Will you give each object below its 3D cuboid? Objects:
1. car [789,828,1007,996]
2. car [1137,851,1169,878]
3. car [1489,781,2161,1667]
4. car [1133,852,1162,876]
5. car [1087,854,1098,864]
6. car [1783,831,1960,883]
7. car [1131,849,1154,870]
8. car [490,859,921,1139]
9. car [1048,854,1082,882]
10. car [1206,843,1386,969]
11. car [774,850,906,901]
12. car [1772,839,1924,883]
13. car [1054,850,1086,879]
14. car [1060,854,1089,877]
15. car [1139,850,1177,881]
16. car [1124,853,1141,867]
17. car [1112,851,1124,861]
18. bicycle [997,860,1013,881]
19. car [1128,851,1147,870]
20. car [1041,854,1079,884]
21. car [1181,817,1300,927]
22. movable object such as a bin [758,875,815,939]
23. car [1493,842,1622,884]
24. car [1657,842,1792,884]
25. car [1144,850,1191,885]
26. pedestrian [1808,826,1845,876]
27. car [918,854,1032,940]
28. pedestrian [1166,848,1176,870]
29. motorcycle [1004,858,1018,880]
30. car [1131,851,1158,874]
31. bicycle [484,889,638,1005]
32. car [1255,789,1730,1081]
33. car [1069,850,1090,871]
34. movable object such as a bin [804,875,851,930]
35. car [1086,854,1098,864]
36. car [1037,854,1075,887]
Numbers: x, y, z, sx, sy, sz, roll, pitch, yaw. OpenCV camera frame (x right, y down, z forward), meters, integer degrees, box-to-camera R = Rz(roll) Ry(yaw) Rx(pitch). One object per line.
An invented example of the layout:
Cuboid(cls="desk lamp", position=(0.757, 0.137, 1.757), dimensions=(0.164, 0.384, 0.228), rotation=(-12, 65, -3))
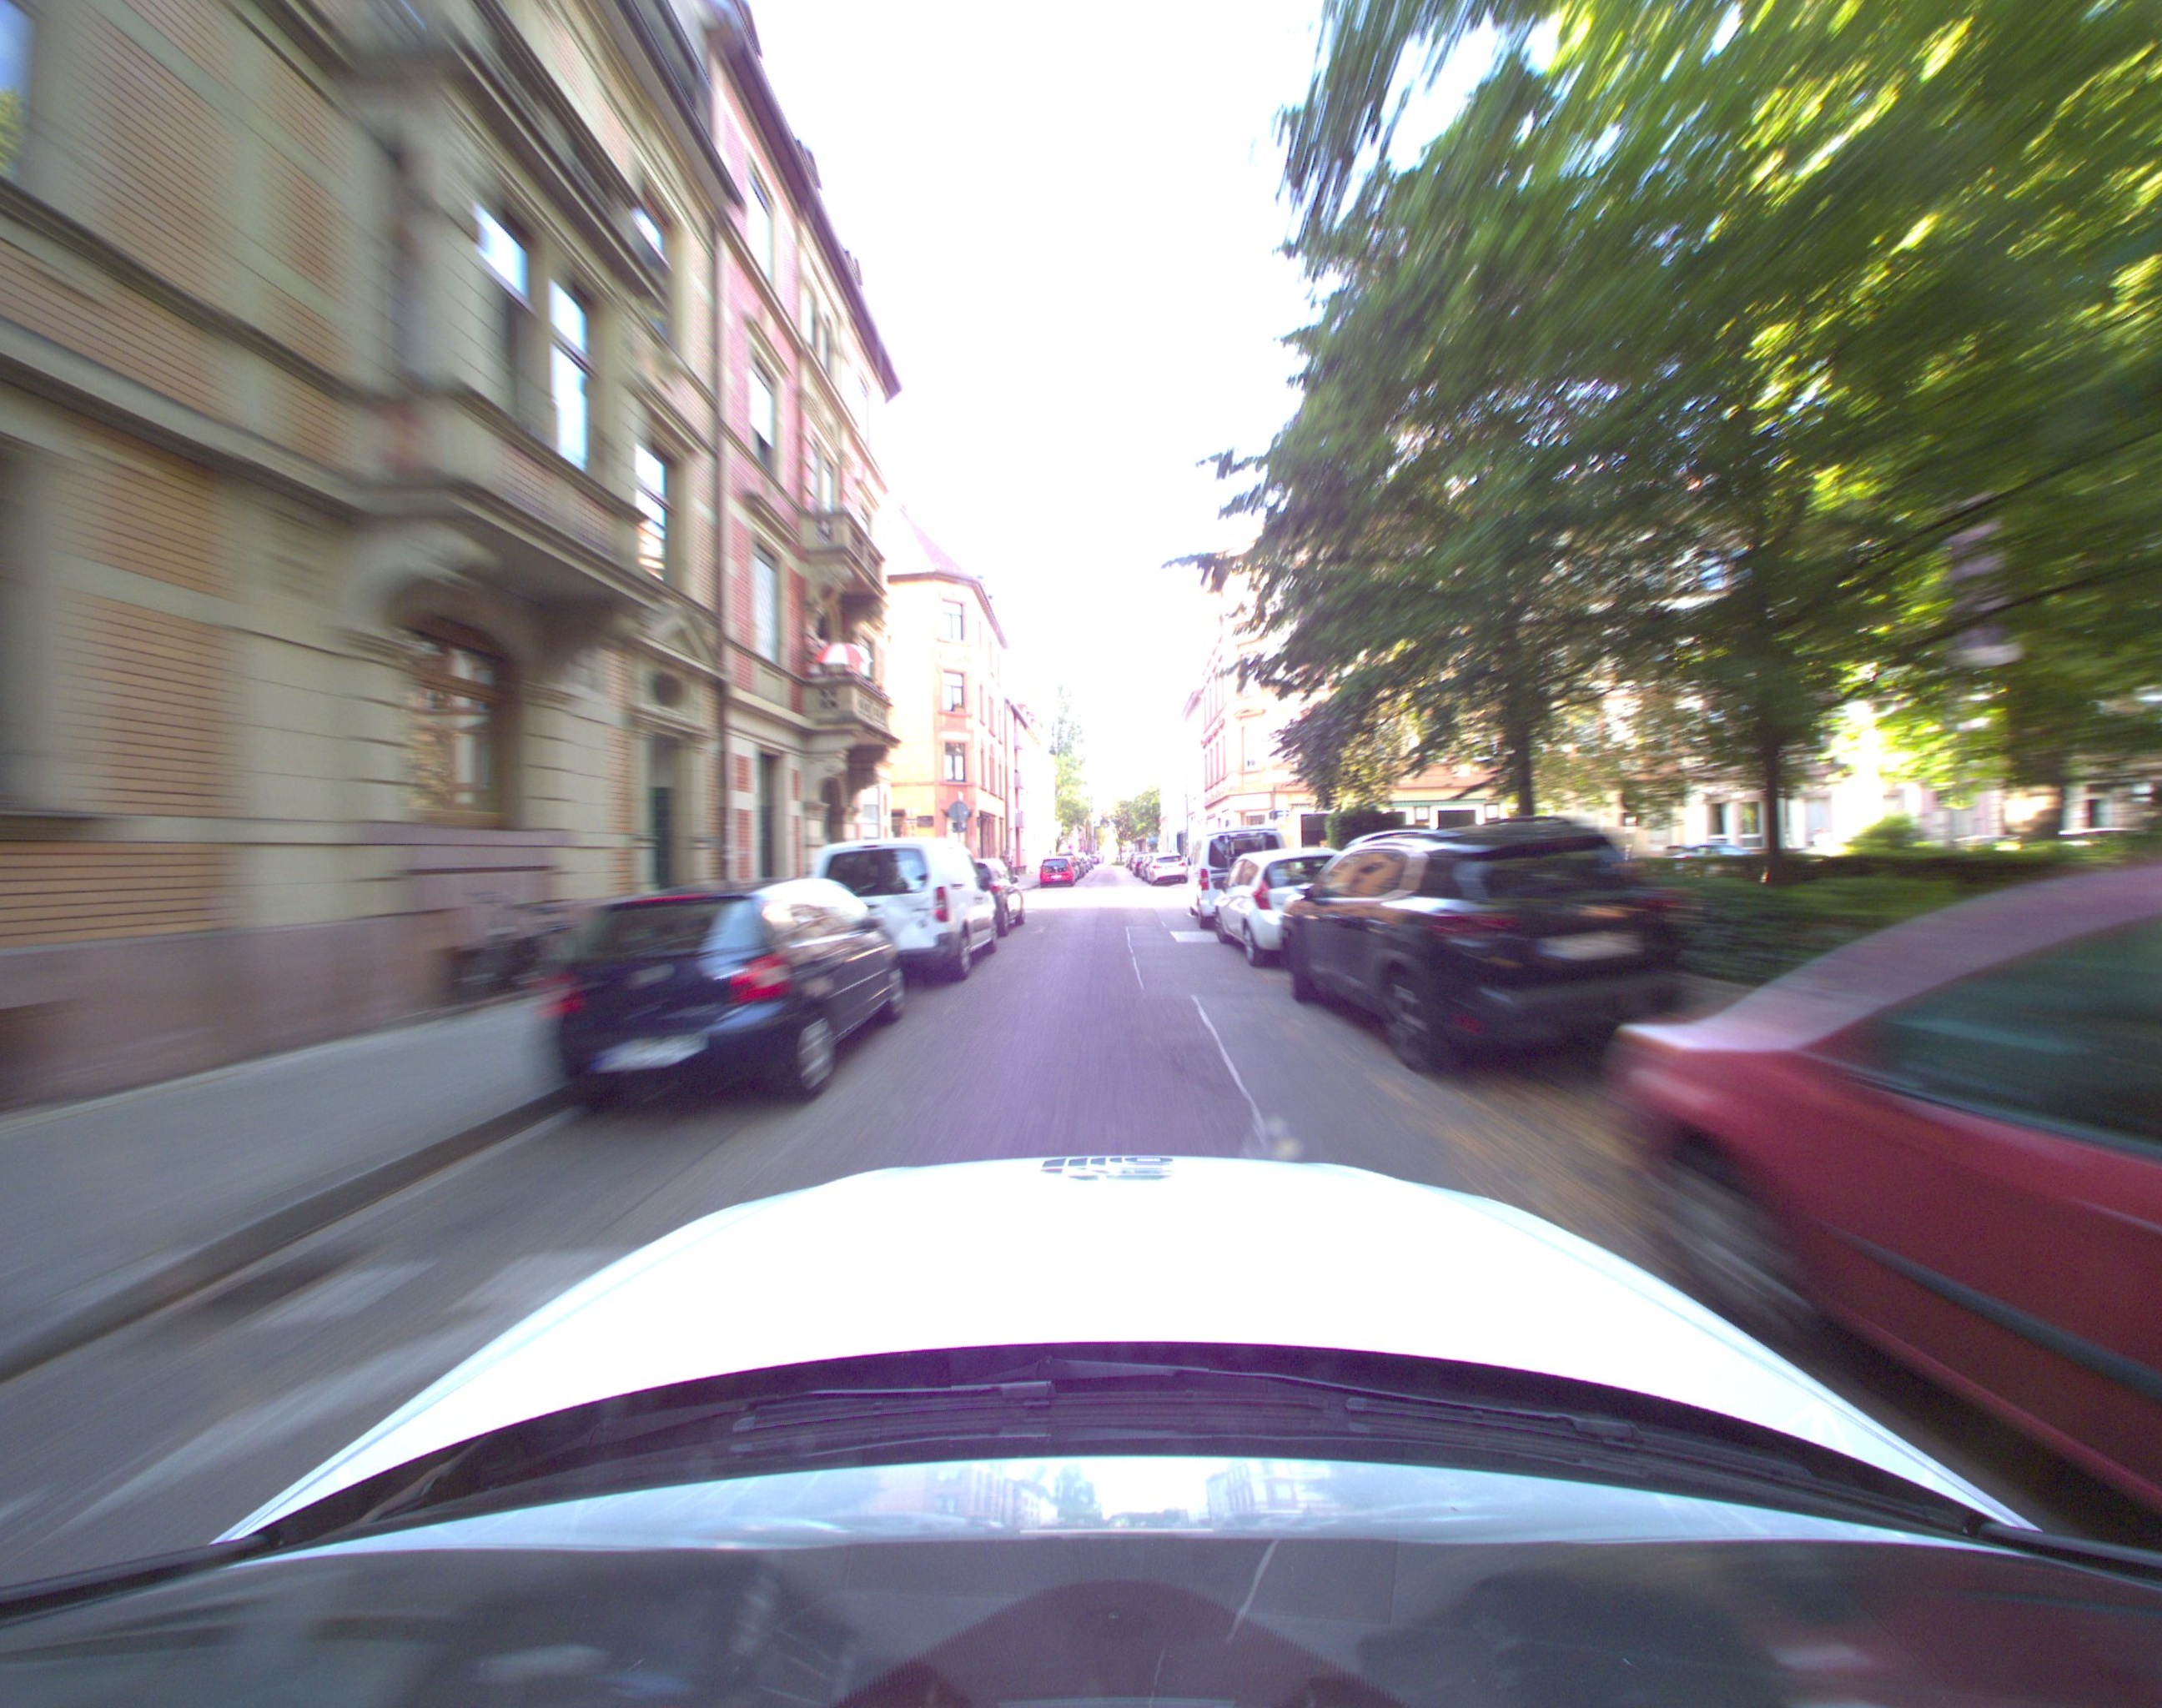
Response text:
Cuboid(cls="car", position=(-2.290, 0.658, 11.563), dimensions=(1.824, 1.811, 4.574), rotation=(-3, 0, 2))
Cuboid(cls="car", position=(4.441, 0.600, 50.744), dimensions=(1.592, 1.506, 4.185), rotation=(-3, 0, 1))
Cuboid(cls="car", position=(2.759, 0.647, 1.710), dimensions=(1.615, 1.624, 3.860), rotation=(-6, -1, -2))
Cuboid(cls="car", position=(4.471, 0.659, 55.337), dimensions=(1.670, 1.506, 3.938), rotation=(-3, 0, 1))
Cuboid(cls="car", position=(1.966, 0.826, 134.393), dimensions=(1.670, 1.487, 4.096), rotation=(-3, 0, 1))
Cuboid(cls="car", position=(23.781, 0.131, 24.618), dimensions=(3.510, 1.473, 1.637), rotation=(-1, -2, 8))
Cuboid(cls="car", position=(5.442, 0.447, 71.942), dimensions=(1.670, 1.627, 4.251), rotation=(-6, 0, 1))
Cuboid(cls="car", position=(-2.586, 0.857, 6.761), dimensions=(1.688, 1.514, 3.971), rotation=(-3, 0, -1))
Cuboid(cls="car", position=(-0.939, 0.848, 50.410), dimensions=(1.649, 1.521, 3.948), rotation=(-3, 0, 4))
Cuboid(cls="car", position=(3.059, 0.665, 12.372), dimensions=(1.713, 1.571, 3.828), rotation=(-2, 0, 0))
Cuboid(cls="car", position=(-9.773, 0.892, 33.205), dimensions=(4.686, 1.894, 2.030), rotation=(-2, -2, 7))
Cuboid(cls="car", position=(27.398, 0.280, 29.187), dimensions=(3.667, 1.473, 1.637), rotation=(-1, -2, 8))
Cuboid(cls="car", position=(-0.704, 0.693, 55.837), dimensions=(1.736, 1.811, 4.677), rotation=(-3, 0, 4))
Cuboid(cls="car", position=(-0.450, 0.818, 61.111), dimensions=(1.736, 1.506, 4.350), rotation=(-3, 0, 4))
Cuboid(cls="car", position=(4.253, 0.609, 45.535), dimensions=(1.737, 1.506, 4.022), rotation=(-3, 0, 1))
Cuboid(cls="car", position=(5.818, 0.652, 91.477), dimensions=(1.670, 1.487, 4.096), rotation=(-3, 0, 1))
Cuboid(cls="car", position=(5.928, 0.337, 130.310), dimensions=(1.670, 1.487, 3.639), rotation=(-3, 0, 1))
Cuboid(cls="bicycle", position=(-4.166, 0.886, 44.646), dimensions=(0.531, 1.074, 1.892), rotation=(3, 0, 3))
Cuboid(cls="car", position=(5.356, 0.608, 77.289), dimensions=(1.669, 1.681, 4.098), rotation=(-3, -1, 3))
Cuboid(cls="car", position=(-1.124, 0.804, 45.588), dimensions=(1.688, 1.521, 4.100), rotation=(-3, 0, 4))
Cuboid(cls="car", position=(3.330, 0.337, 17.923), dimensions=(1.906, 1.998, 4.797), rotation=(-3, 0, 4))
Cuboid(cls="movable object such as a bin", position=(-5.076, 0.897, 14.069), dimensions=(0.635, 1.041, 0.856), rotation=(0, 0, 2))
Cuboid(cls="car", position=(17.792, 0.368, 30.560), dimensions=(3.832, 1.473, 1.637), rotation=(-1, -2, 8))
Cuboid(cls="car", position=(23.440, 0.352, 29.786), dimensions=(3.510, 1.473, 1.637), rotation=(-1, -2, 8))
Cuboid(cls="car", position=(4.202, 0.615, 40.126), dimensions=(1.739, 1.506, 4.356), rotation=(-3, 0, -1))
Cuboid(cls="pedestrian", position=(29.351, -0.137, 32.087), dimensions=(0.712, 1.920, 0.801), rotation=(-1, 2, 2))
Cuboid(cls="car", position=(-2.093, 0.799, 17.116), dimensions=(1.686, 1.481, 3.974), rotation=(-3, 0, 1))
Cuboid(cls="pedestrian", position=(7.233, 0.400, 65.718), dimensions=(0.683, 1.660, 0.718), rotation=(-2, 0, 1))
Cuboid(cls="motorcycle", position=(-4.060, 0.862, 47.064), dimensions=(0.531, 1.206, 1.910), rotation=(-2, 0, 3))
Cuboid(cls="car", position=(4.660, 0.616, 60.248), dimensions=(1.670, 1.506, 3.938), rotation=(-3, 0, 1))
Cuboid(cls="bicycle", position=(-5.406, 0.922, 8.579), dimensions=(0.569, 1.041, 1.547), rotation=(0, 0, 2))
Cuboid(cls="car", position=(2.983, 0.520, 7.111), dimensions=(1.735, 1.603, 4.260), rotation=(-6, -1, -2))
Cuboid(cls="car", position=(-0.108, 0.567, 75.069), dimensions=(1.759, 1.785, 4.040), rotation=(-3, 0, 1))
Cuboid(cls="movable object such as a bin", position=(-5.068, 0.950, 16.315), dimensions=(0.635, 1.041, 0.856), rotation=(0, 0, 2))
Cuboid(cls="car", position=(1.764, 0.802, 129.384), dimensions=(1.670, 1.487, 4.096), rotation=(-3, 0, 1))
Cuboid(cls="car", position=(-1.217, 0.811, 40.818), dimensions=(1.622, 1.481, 3.602), rotation=(-3, 0, 1))
